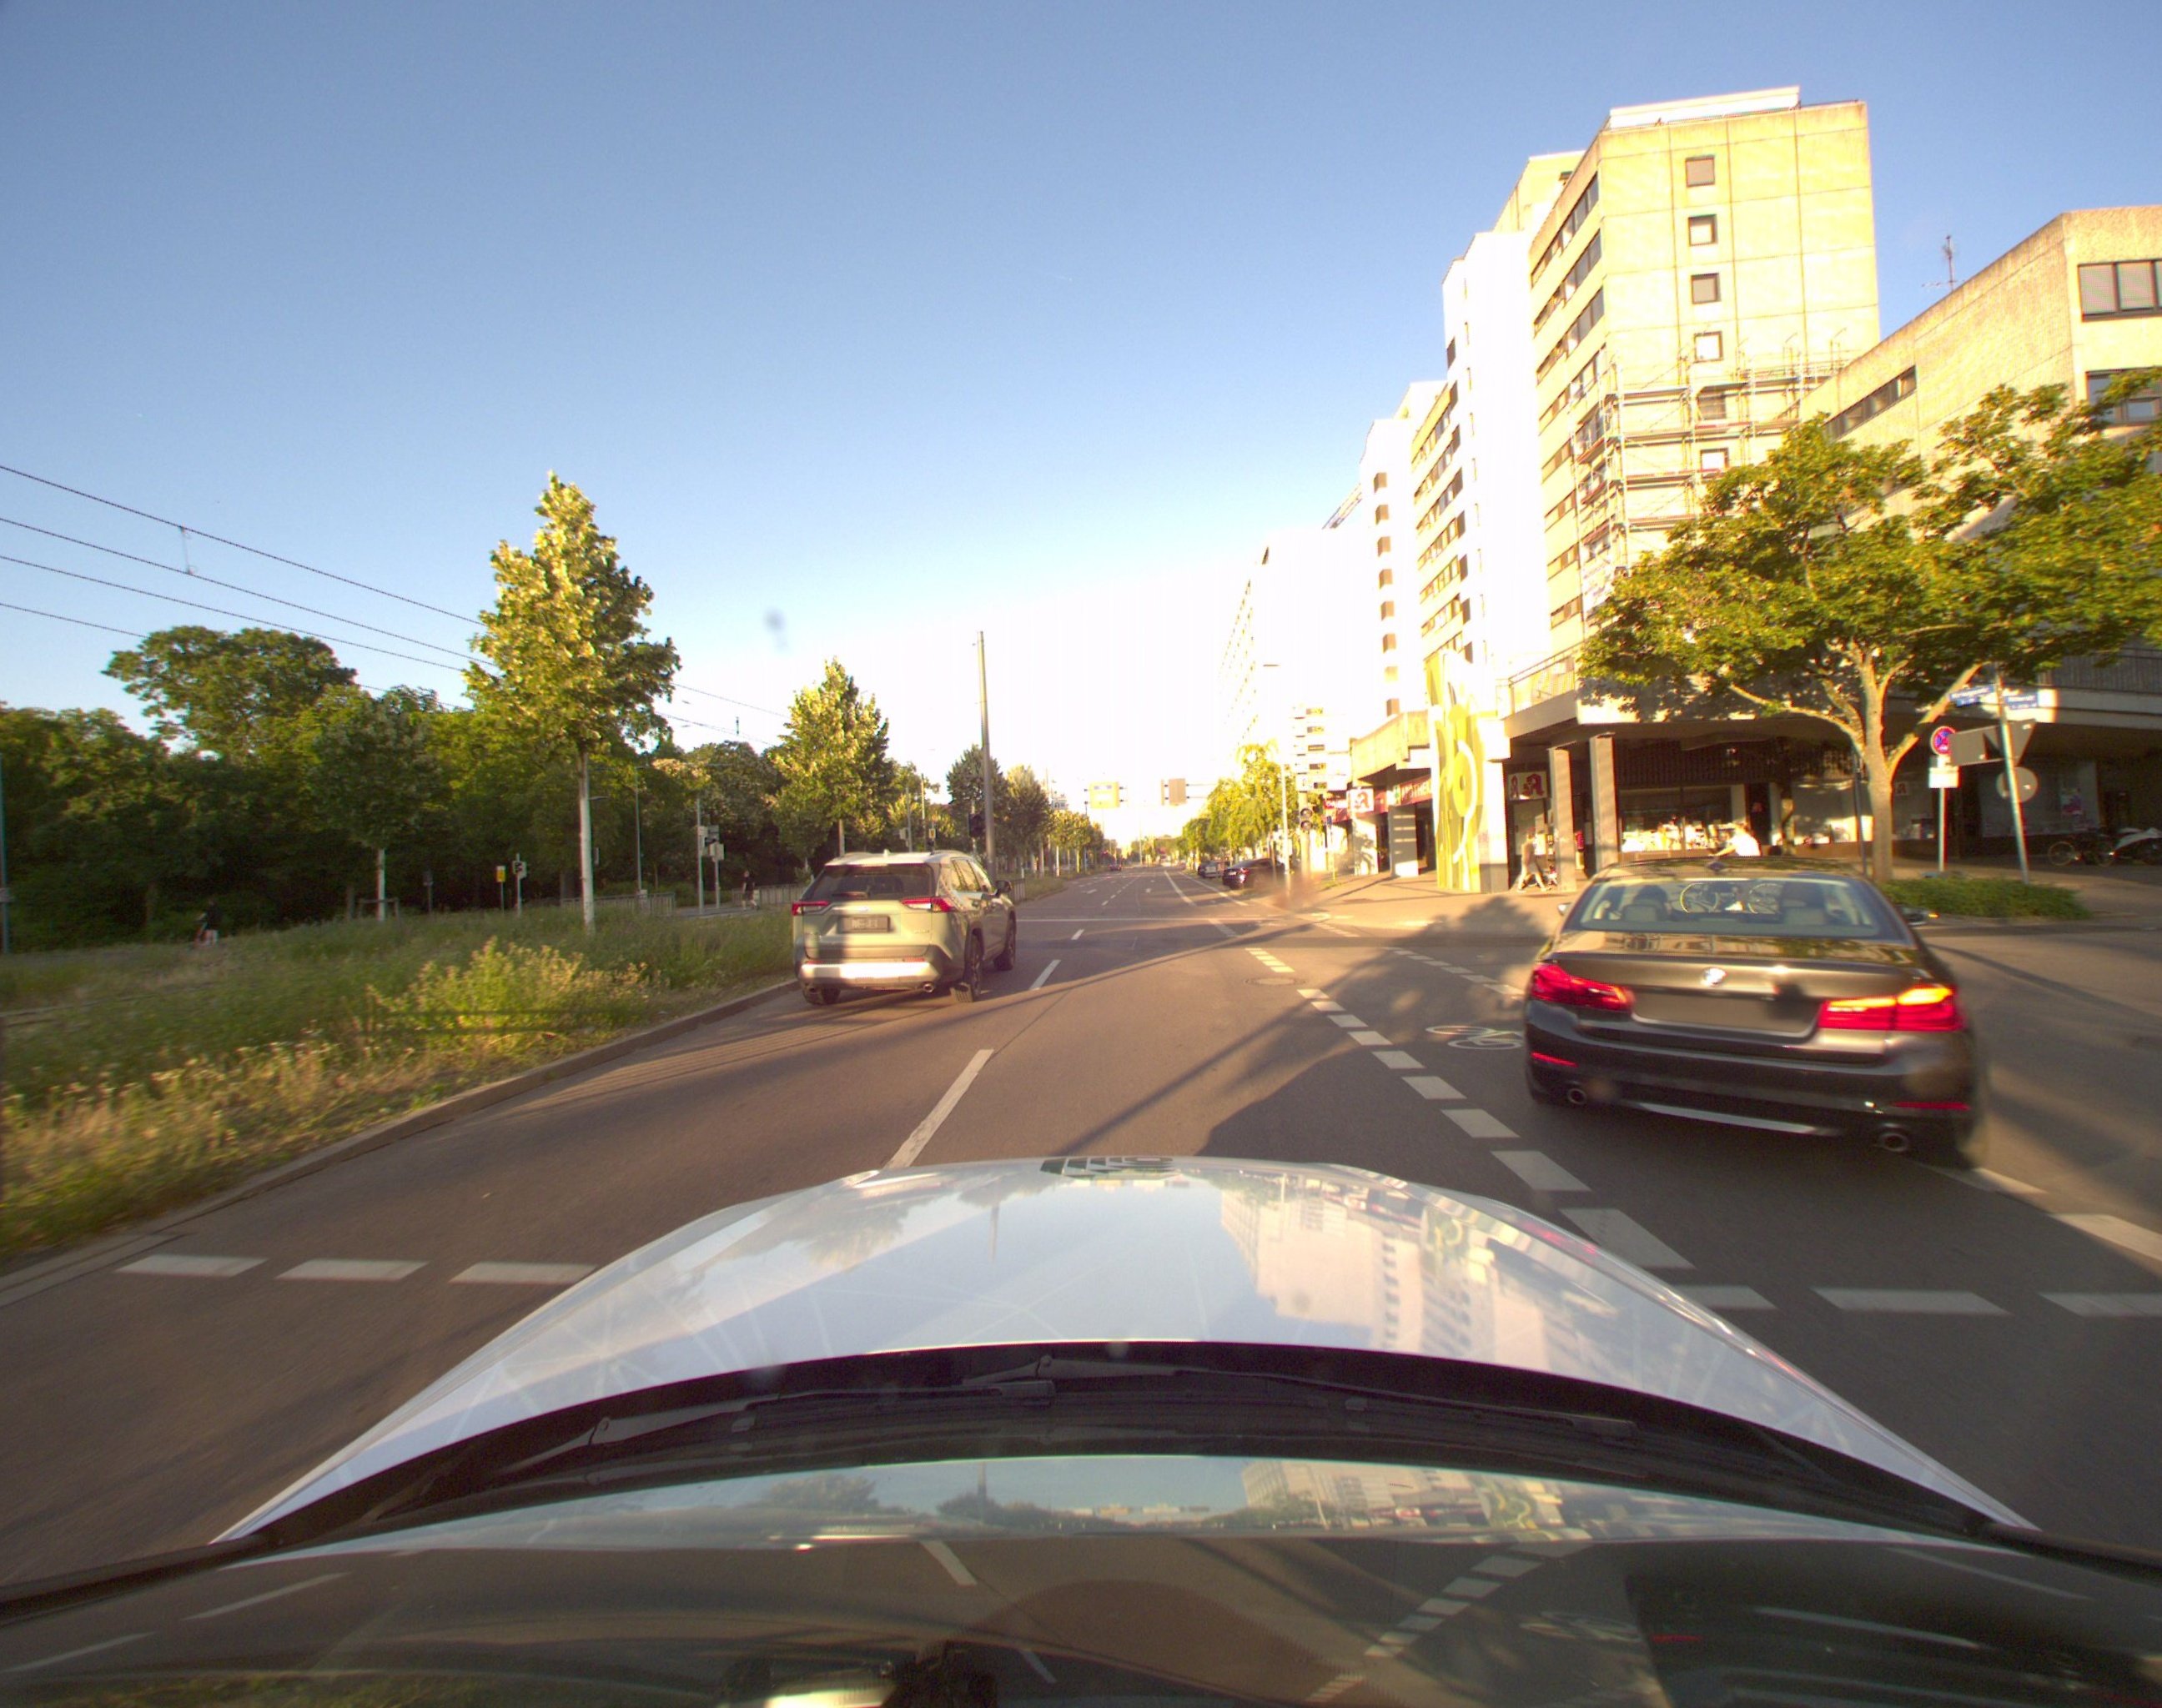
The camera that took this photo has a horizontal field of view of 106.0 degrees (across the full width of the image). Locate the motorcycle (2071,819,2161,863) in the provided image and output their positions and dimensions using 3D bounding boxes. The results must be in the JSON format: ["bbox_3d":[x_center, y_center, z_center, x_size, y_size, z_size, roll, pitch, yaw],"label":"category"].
[{"bbox_3d":[27.519,-0.325,21.485,0.642,1.075,1.880,0,-1,6],"label":"motorcycle"}]

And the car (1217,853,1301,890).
[{"bbox_3d":[8.894,0.823,40.541,4.290,1.658,1.839,-2,1,-39],"label":"car"}]

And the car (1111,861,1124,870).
[{"bbox_3d":[5.893,1.842,131.179,1.970,1.433,4.847,-1,1,3],"label":"car"}]

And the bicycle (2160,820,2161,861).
[{"bbox_3d":[28.898,-0.378,20.657,0.578,1.075,1.980,0,-1,6],"label":"bicycle"}]

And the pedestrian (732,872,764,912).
[{"bbox_3d":[-13.649,1.542,33.356,0.827,1.586,0.817,-3,-1,31],"label":"pedestrian"}]

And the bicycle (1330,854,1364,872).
[{"bbox_3d":[17.181,0.601,52.623,2.004,1.149,0.692,0,-2,9],"label":"bicycle"}]

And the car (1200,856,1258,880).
[{"bbox_3d":[11.379,1.047,62.706,4.284,1.658,1.842,-2,1,-33],"label":"car"}]

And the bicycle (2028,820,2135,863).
[{"bbox_3d":[26.872,-0.321,21.935,0.578,1.075,1.980,0,-1,6],"label":"bicycle"}]

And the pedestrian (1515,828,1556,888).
[{"bbox_3d":[13.380,0.130,23.995,0.830,1.712,0.649,-3,-1,10],"label":"pedestrian"}]

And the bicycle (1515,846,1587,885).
[{"bbox_3d":[14.430,0.367,25.068,0.689,1.149,2.012,1,-1,-15],"label":"bicycle"}]

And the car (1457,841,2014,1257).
[{"bbox_3d":[4.197,0.693,5.318,1.914,1.481,4.550,-1,1,42],"label":"car"}]

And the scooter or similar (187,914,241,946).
[{"bbox_3d":[-33.956,2.967,31.901,1.333,1.153,0.510,-2,-1,-18],"label":"scooter or similar"}]

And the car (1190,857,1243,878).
[{"bbox_3d":[11.507,1.128,69.061,4.283,1.658,1.842,-2,1,-32],"label":"car"}]

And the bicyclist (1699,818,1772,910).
[{"bbox_3d":[12.392,0.185,15.432,0.654,1.681,0.813,-2,-1,-26],"label":"bicyclist"}]

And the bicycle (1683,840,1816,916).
[{"bbox_3d":[12.479,0.442,15.264,0.654,1.310,1.772,-2,-1,-26],"label":"bicycle"}]

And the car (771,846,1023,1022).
[{"bbox_3d":[-1.930,0.753,9.960,1.846,1.658,4.272,-1,1,3],"label":"car"}]

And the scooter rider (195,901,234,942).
[{"bbox_3d":[-33.974,2.635,31.937,0.823,1.514,0.649,-2,-1,-18],"label":"scooter rider"}]
